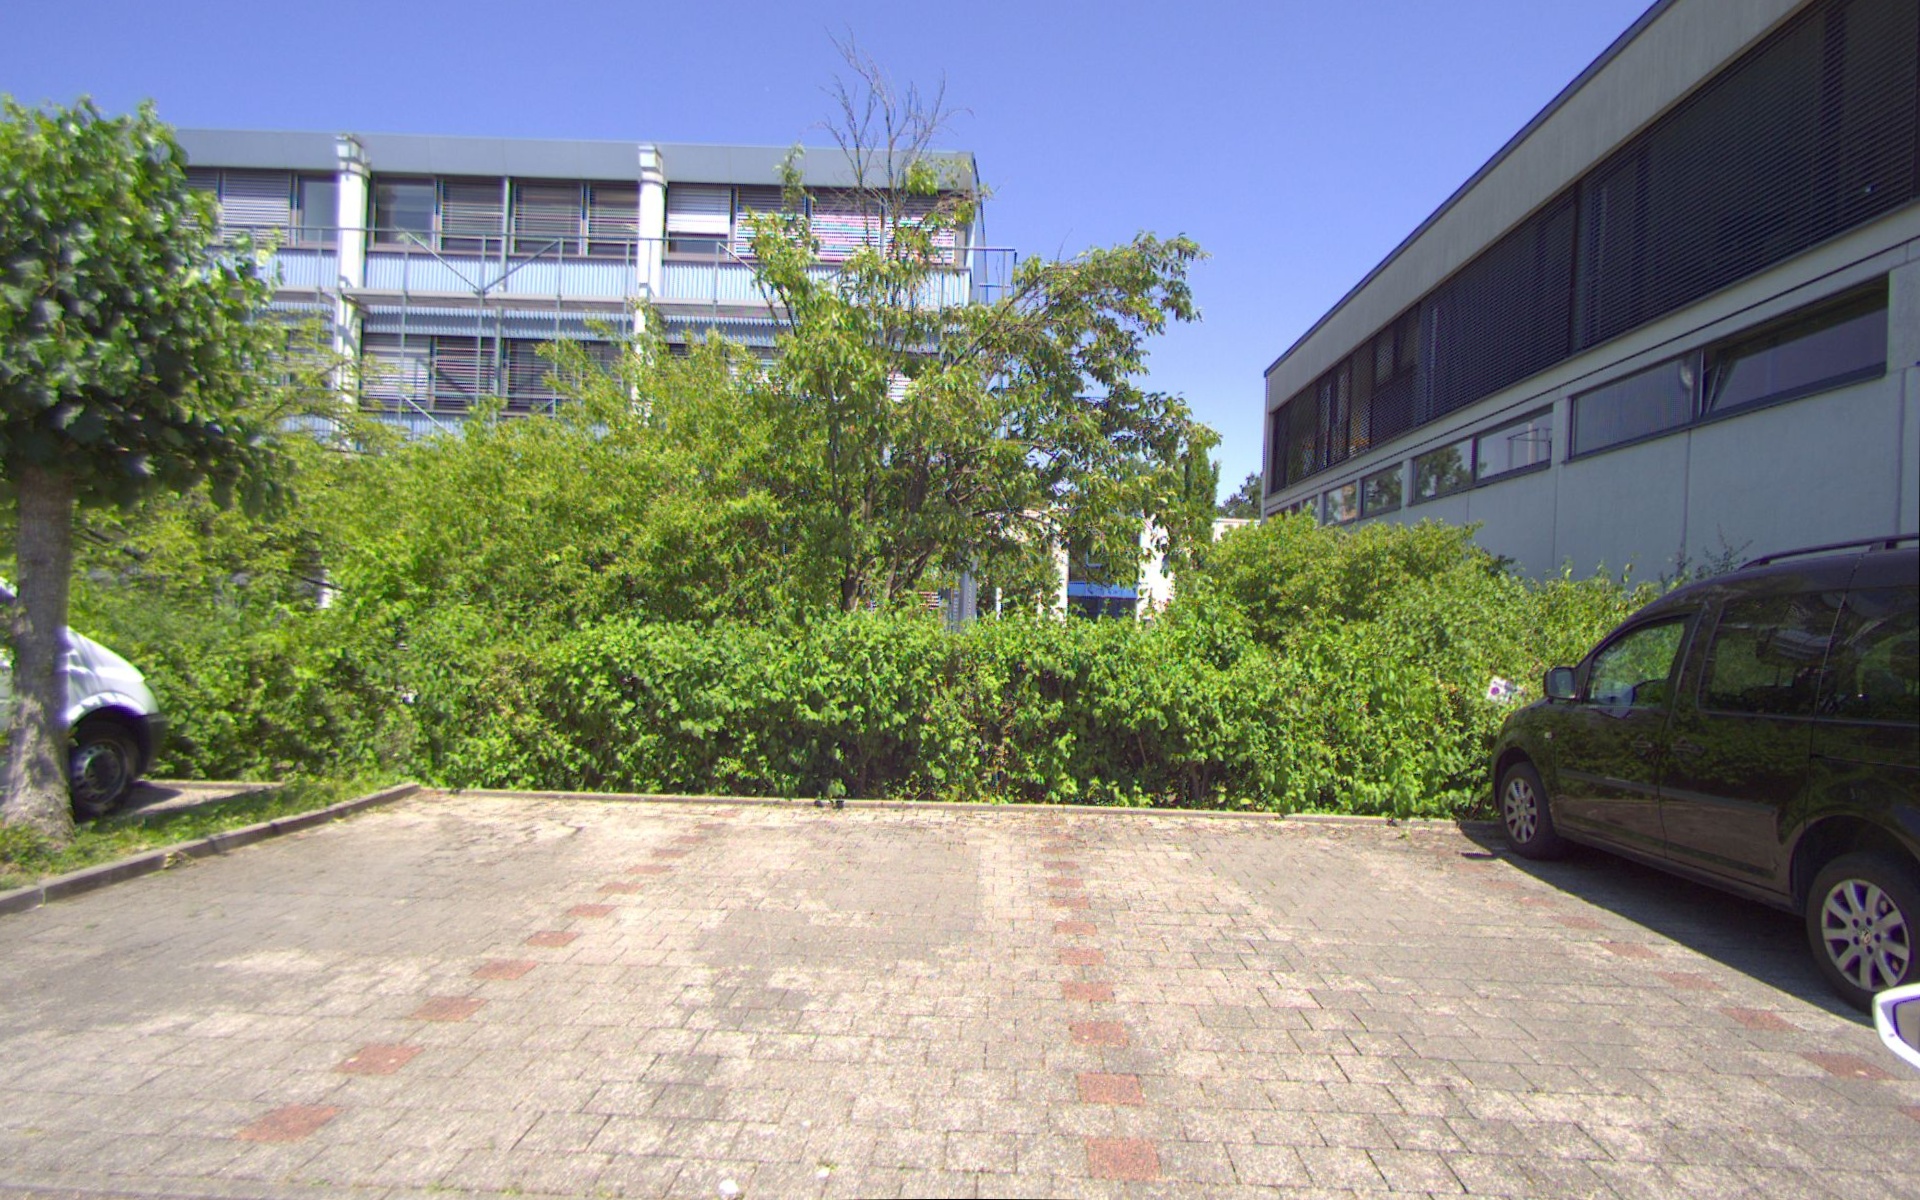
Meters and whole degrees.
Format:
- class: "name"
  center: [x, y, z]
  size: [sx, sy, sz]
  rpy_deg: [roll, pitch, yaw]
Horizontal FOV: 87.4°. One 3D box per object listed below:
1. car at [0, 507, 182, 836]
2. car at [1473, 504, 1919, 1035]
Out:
- class: "car"
  center: [-6.556, 0.388, 4.855]
  size: [1.793, 1.931, 4.736]
  rpy_deg: [1, -1, 1]
- class: "car"
  center: [4.378, 0.646, 5.083]
  size: [1.645, 1.909, 4.073]
  rpy_deg: [1, -1, 3]
